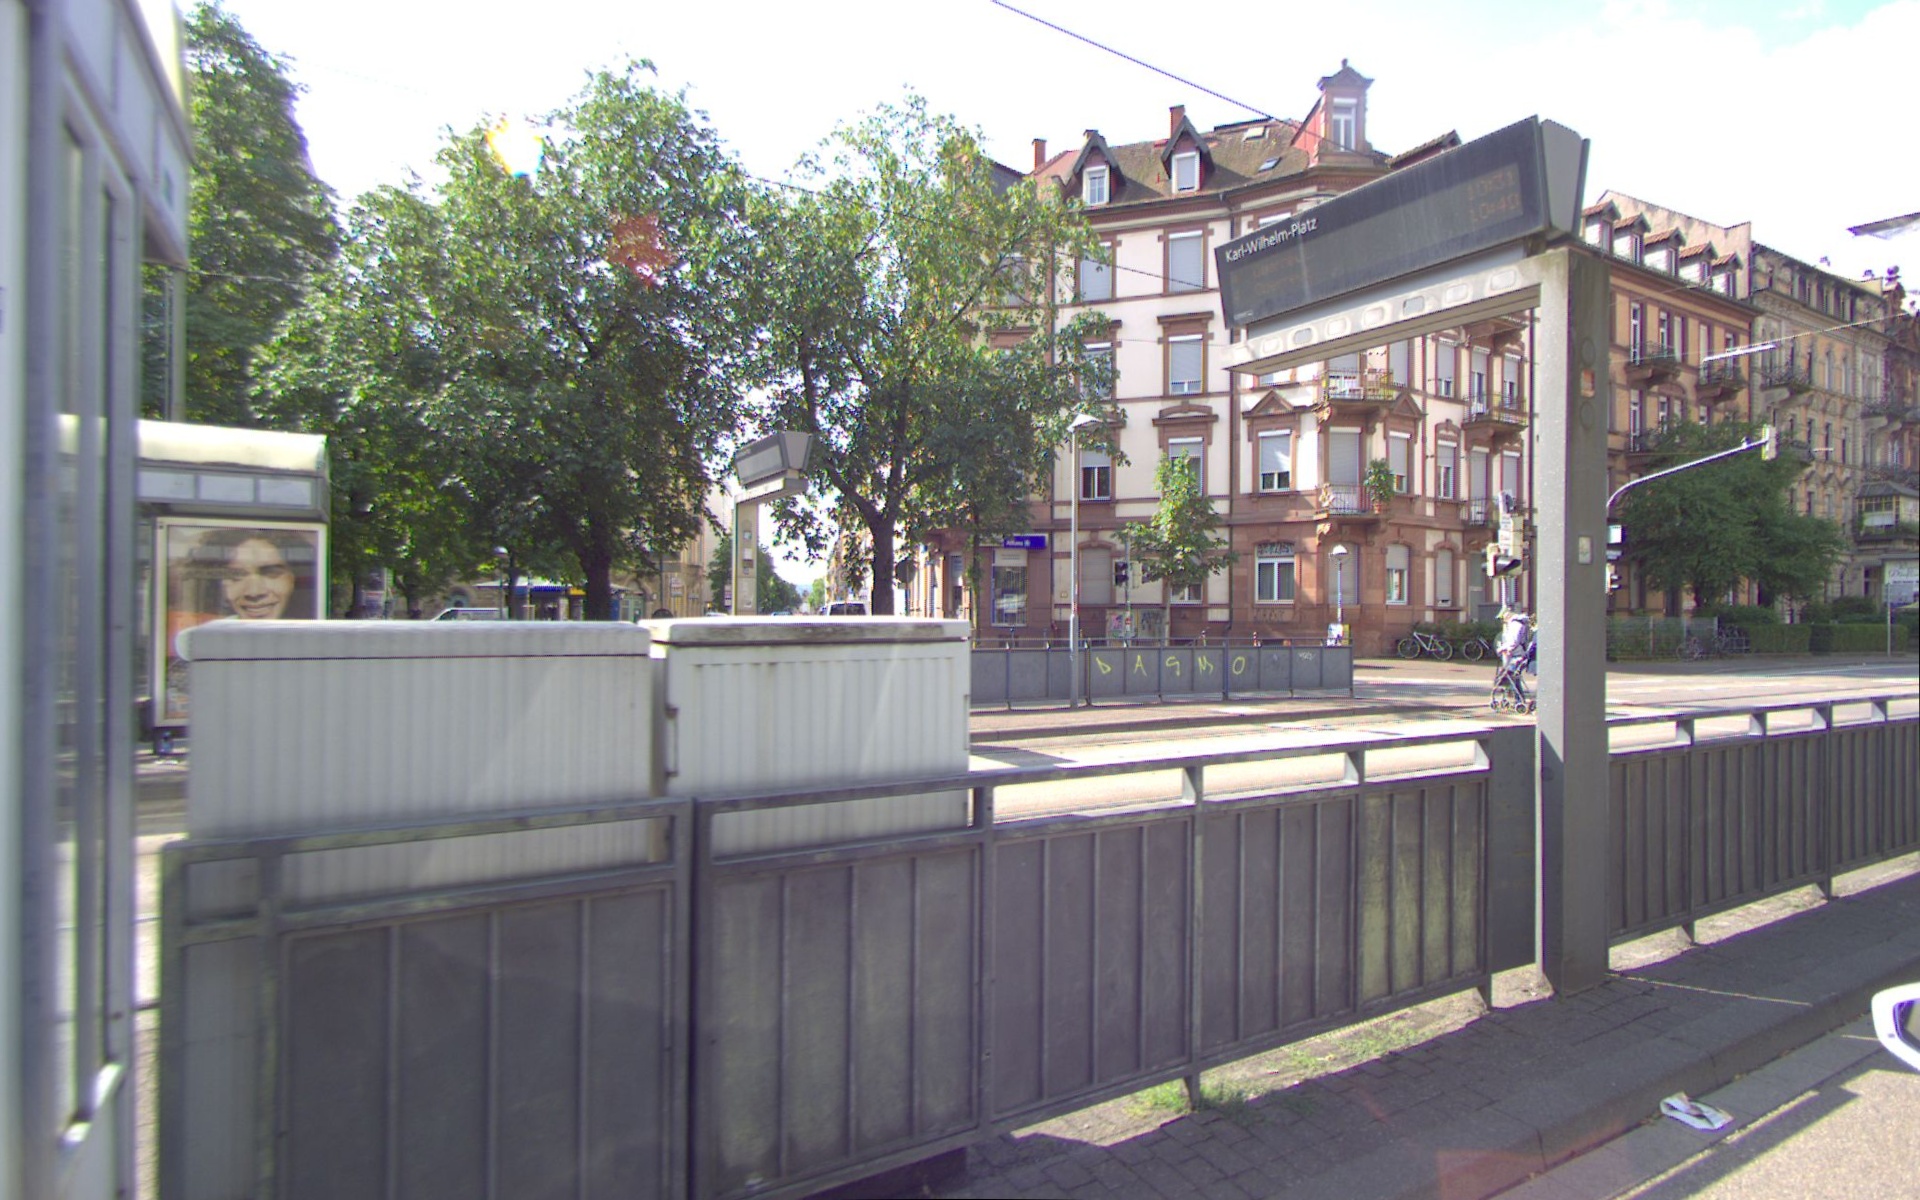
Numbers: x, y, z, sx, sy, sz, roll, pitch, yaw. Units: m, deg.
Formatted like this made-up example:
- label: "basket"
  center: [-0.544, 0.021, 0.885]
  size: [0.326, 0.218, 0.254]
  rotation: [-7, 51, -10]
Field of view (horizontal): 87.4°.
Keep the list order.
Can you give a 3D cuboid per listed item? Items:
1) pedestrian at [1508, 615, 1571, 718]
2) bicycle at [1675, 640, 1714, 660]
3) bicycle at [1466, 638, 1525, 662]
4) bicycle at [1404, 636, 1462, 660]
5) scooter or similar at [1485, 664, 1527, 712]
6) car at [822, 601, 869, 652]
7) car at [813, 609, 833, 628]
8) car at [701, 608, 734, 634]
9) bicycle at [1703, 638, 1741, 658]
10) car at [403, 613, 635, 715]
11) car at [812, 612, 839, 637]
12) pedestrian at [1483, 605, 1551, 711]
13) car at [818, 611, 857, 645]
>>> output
- label: "pedestrian"
  center: [9.054, 1.012, 15.689]
  size: [0.574, 1.566, 0.664]
  rotation: [1, 0, -31]
- label: "bicycle"
  center: [25.707, 1.745, 35.158]
  size: [1.688, 0.662, 0.384]
  rotation: [1, -1, -26]
- label: "bicycle"
  center: [17.517, 1.633, 32.892]
  size: [1.676, 0.757, 0.386]
  rotation: [0, 0, 6]
- label: "bicycle"
  center: [15.562, 1.570, 33.070]
  size: [1.676, 0.757, 0.386]
  rotation: [0, 0, 6]
- label: "scooter or similar"
  center: [8.770, 1.408, 16.146]
  size: [0.481, 0.730, 0.412]
  rotation: [1, 0, -31]
- label: "car"
  center: [-4.694, 1.054, 41.266]
  size: [1.822, 2.015, 3.944]
  rotation: [0, 0, -6]
- label: "car"
  center: [-14.033, 1.858, 102.594]
  size: [1.963, 1.884, 3.995]
  rotation: [0, -1, -8]
- label: "car"
  center: [-17.694, 1.534, 73.512]
  size: [1.963, 1.795, 3.994]
  rotation: [0, -1, -9]
- label: "bicycle"
  center: [27.550, 1.730, 36.330]
  size: [1.688, 0.686, 0.384]
  rotation: [1, -1, -26]
- label: "car"
  center: [-8.479, 1.159, 19.405]
  size: [3.953, 1.800, 1.672]
  rotation: [1, -1, -30]
- label: "car"
  center: [-8.939, 1.592, 66.713]
  size: [1.686, 1.576, 3.915]
  rotation: [0, -1, -8]
- label: "pedestrian"
  center: [9.195, 0.939, 16.581]
  size: [0.660, 1.697, 0.767]
  rotation: [1, -1, -31]
- label: "car"
  center: [-6.248, 1.392, 51.110]
  size: [1.881, 1.686, 3.936]
  rotation: [0, -1, -7]
